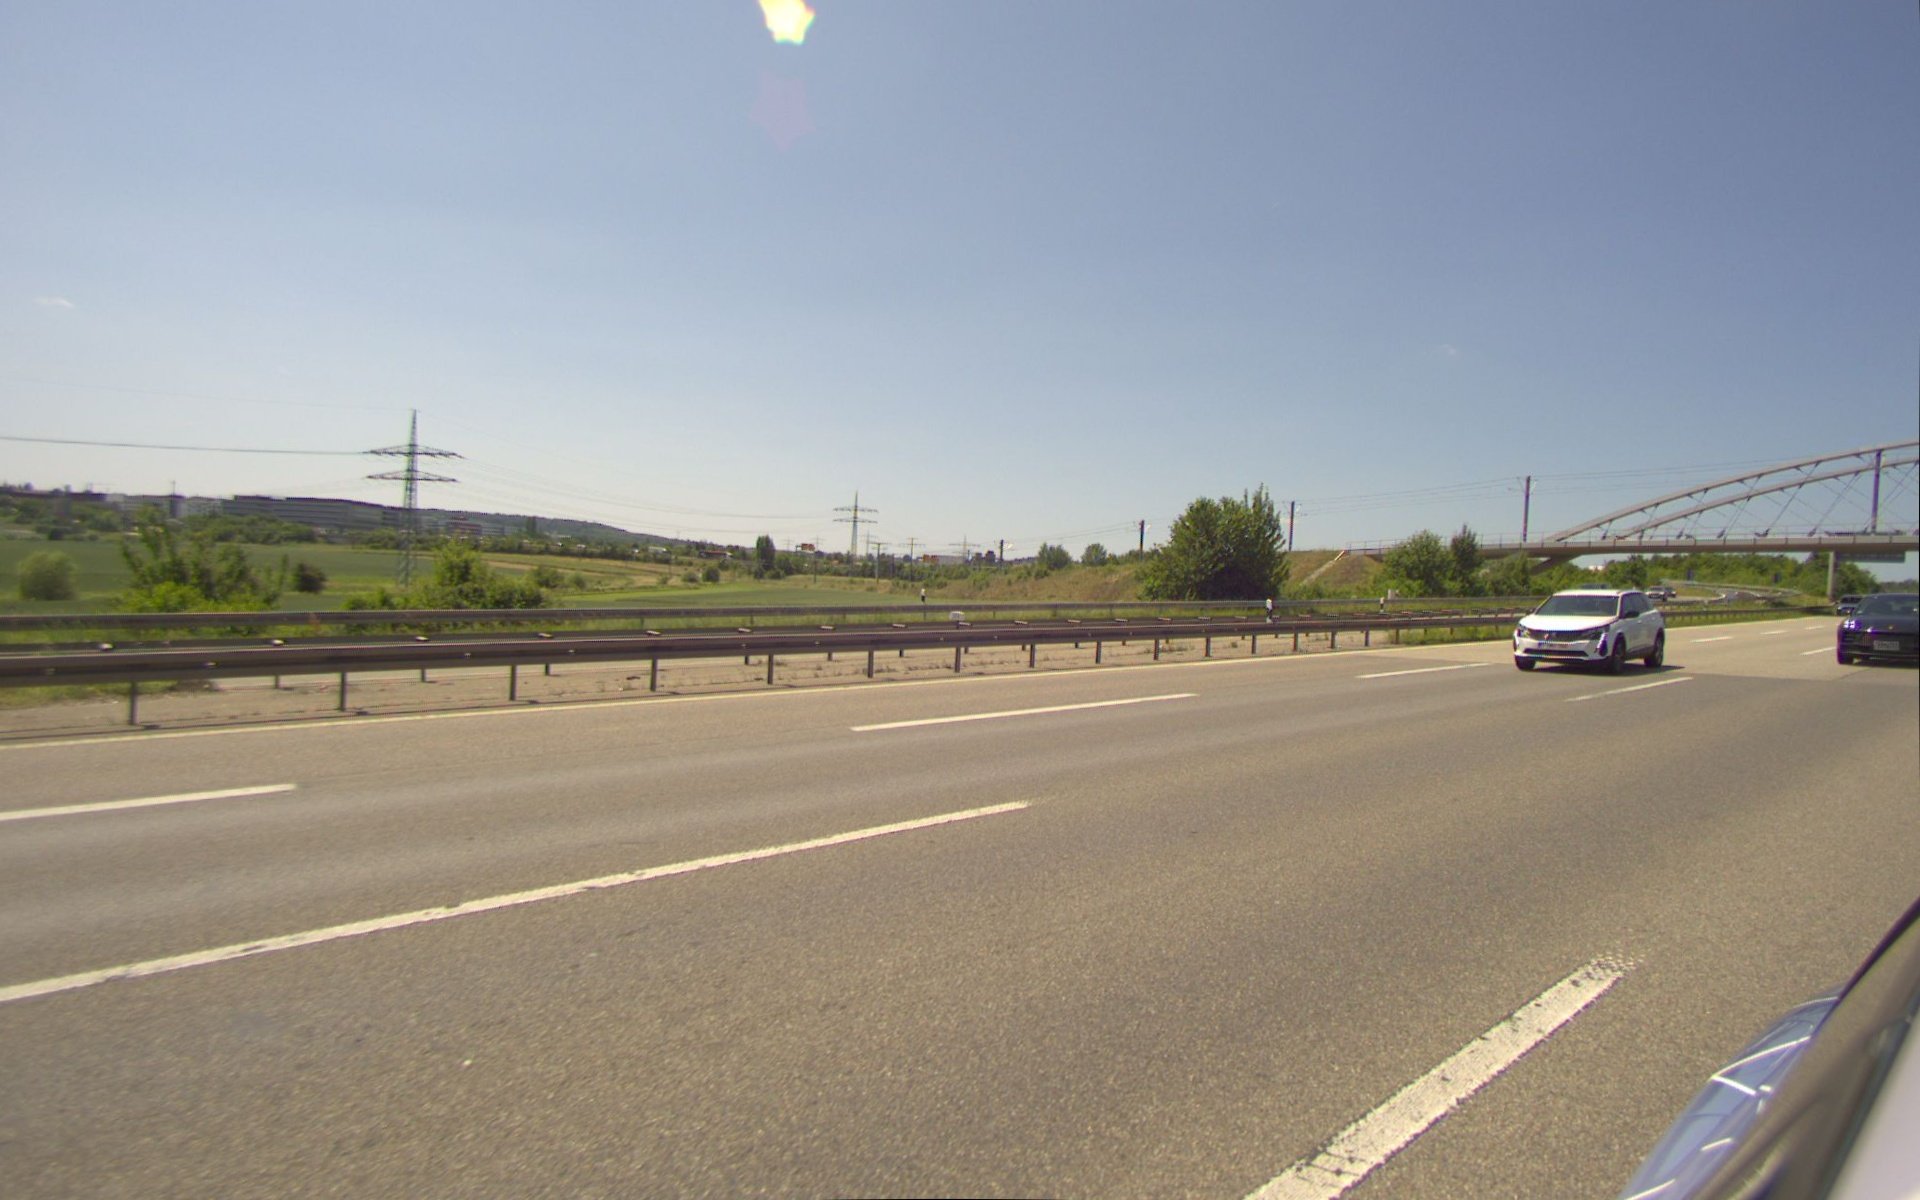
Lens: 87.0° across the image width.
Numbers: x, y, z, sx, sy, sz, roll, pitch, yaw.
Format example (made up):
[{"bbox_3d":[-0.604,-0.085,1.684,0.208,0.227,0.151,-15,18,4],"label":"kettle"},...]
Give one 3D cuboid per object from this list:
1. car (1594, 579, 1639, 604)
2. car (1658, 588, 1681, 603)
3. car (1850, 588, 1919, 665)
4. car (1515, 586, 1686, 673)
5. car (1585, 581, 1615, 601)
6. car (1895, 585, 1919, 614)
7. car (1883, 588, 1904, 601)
[{"bbox_3d":[44.314,-0.590,68.323,4.060,1.594,1.701,-1,1,-44],"label":"car"},{"bbox_3d":[77.859,-0.477,110.997,1.698,1.594,4.068,1,1,40],"label":"car"},{"bbox_3d":[21.438,0.531,22.782,1.927,1.615,4.066,1,1,44],"label":"car"},{"bbox_3d":[13.278,0.514,20.865,4.539,1.611,1.747,-1,1,-41],"label":"car"},{"bbox_3d":[52.464,-0.782,82.906,1.696,1.594,4.072,1,1,38],"label":"car"},{"bbox_3d":[64.742,-0.038,68.597,4.224,1.943,1.805,-1,1,-44],"label":"car"},{"bbox_3d":[147.424,-0.909,159.780,3.929,2.039,1.998,0,1,-40],"label":"car"}]
